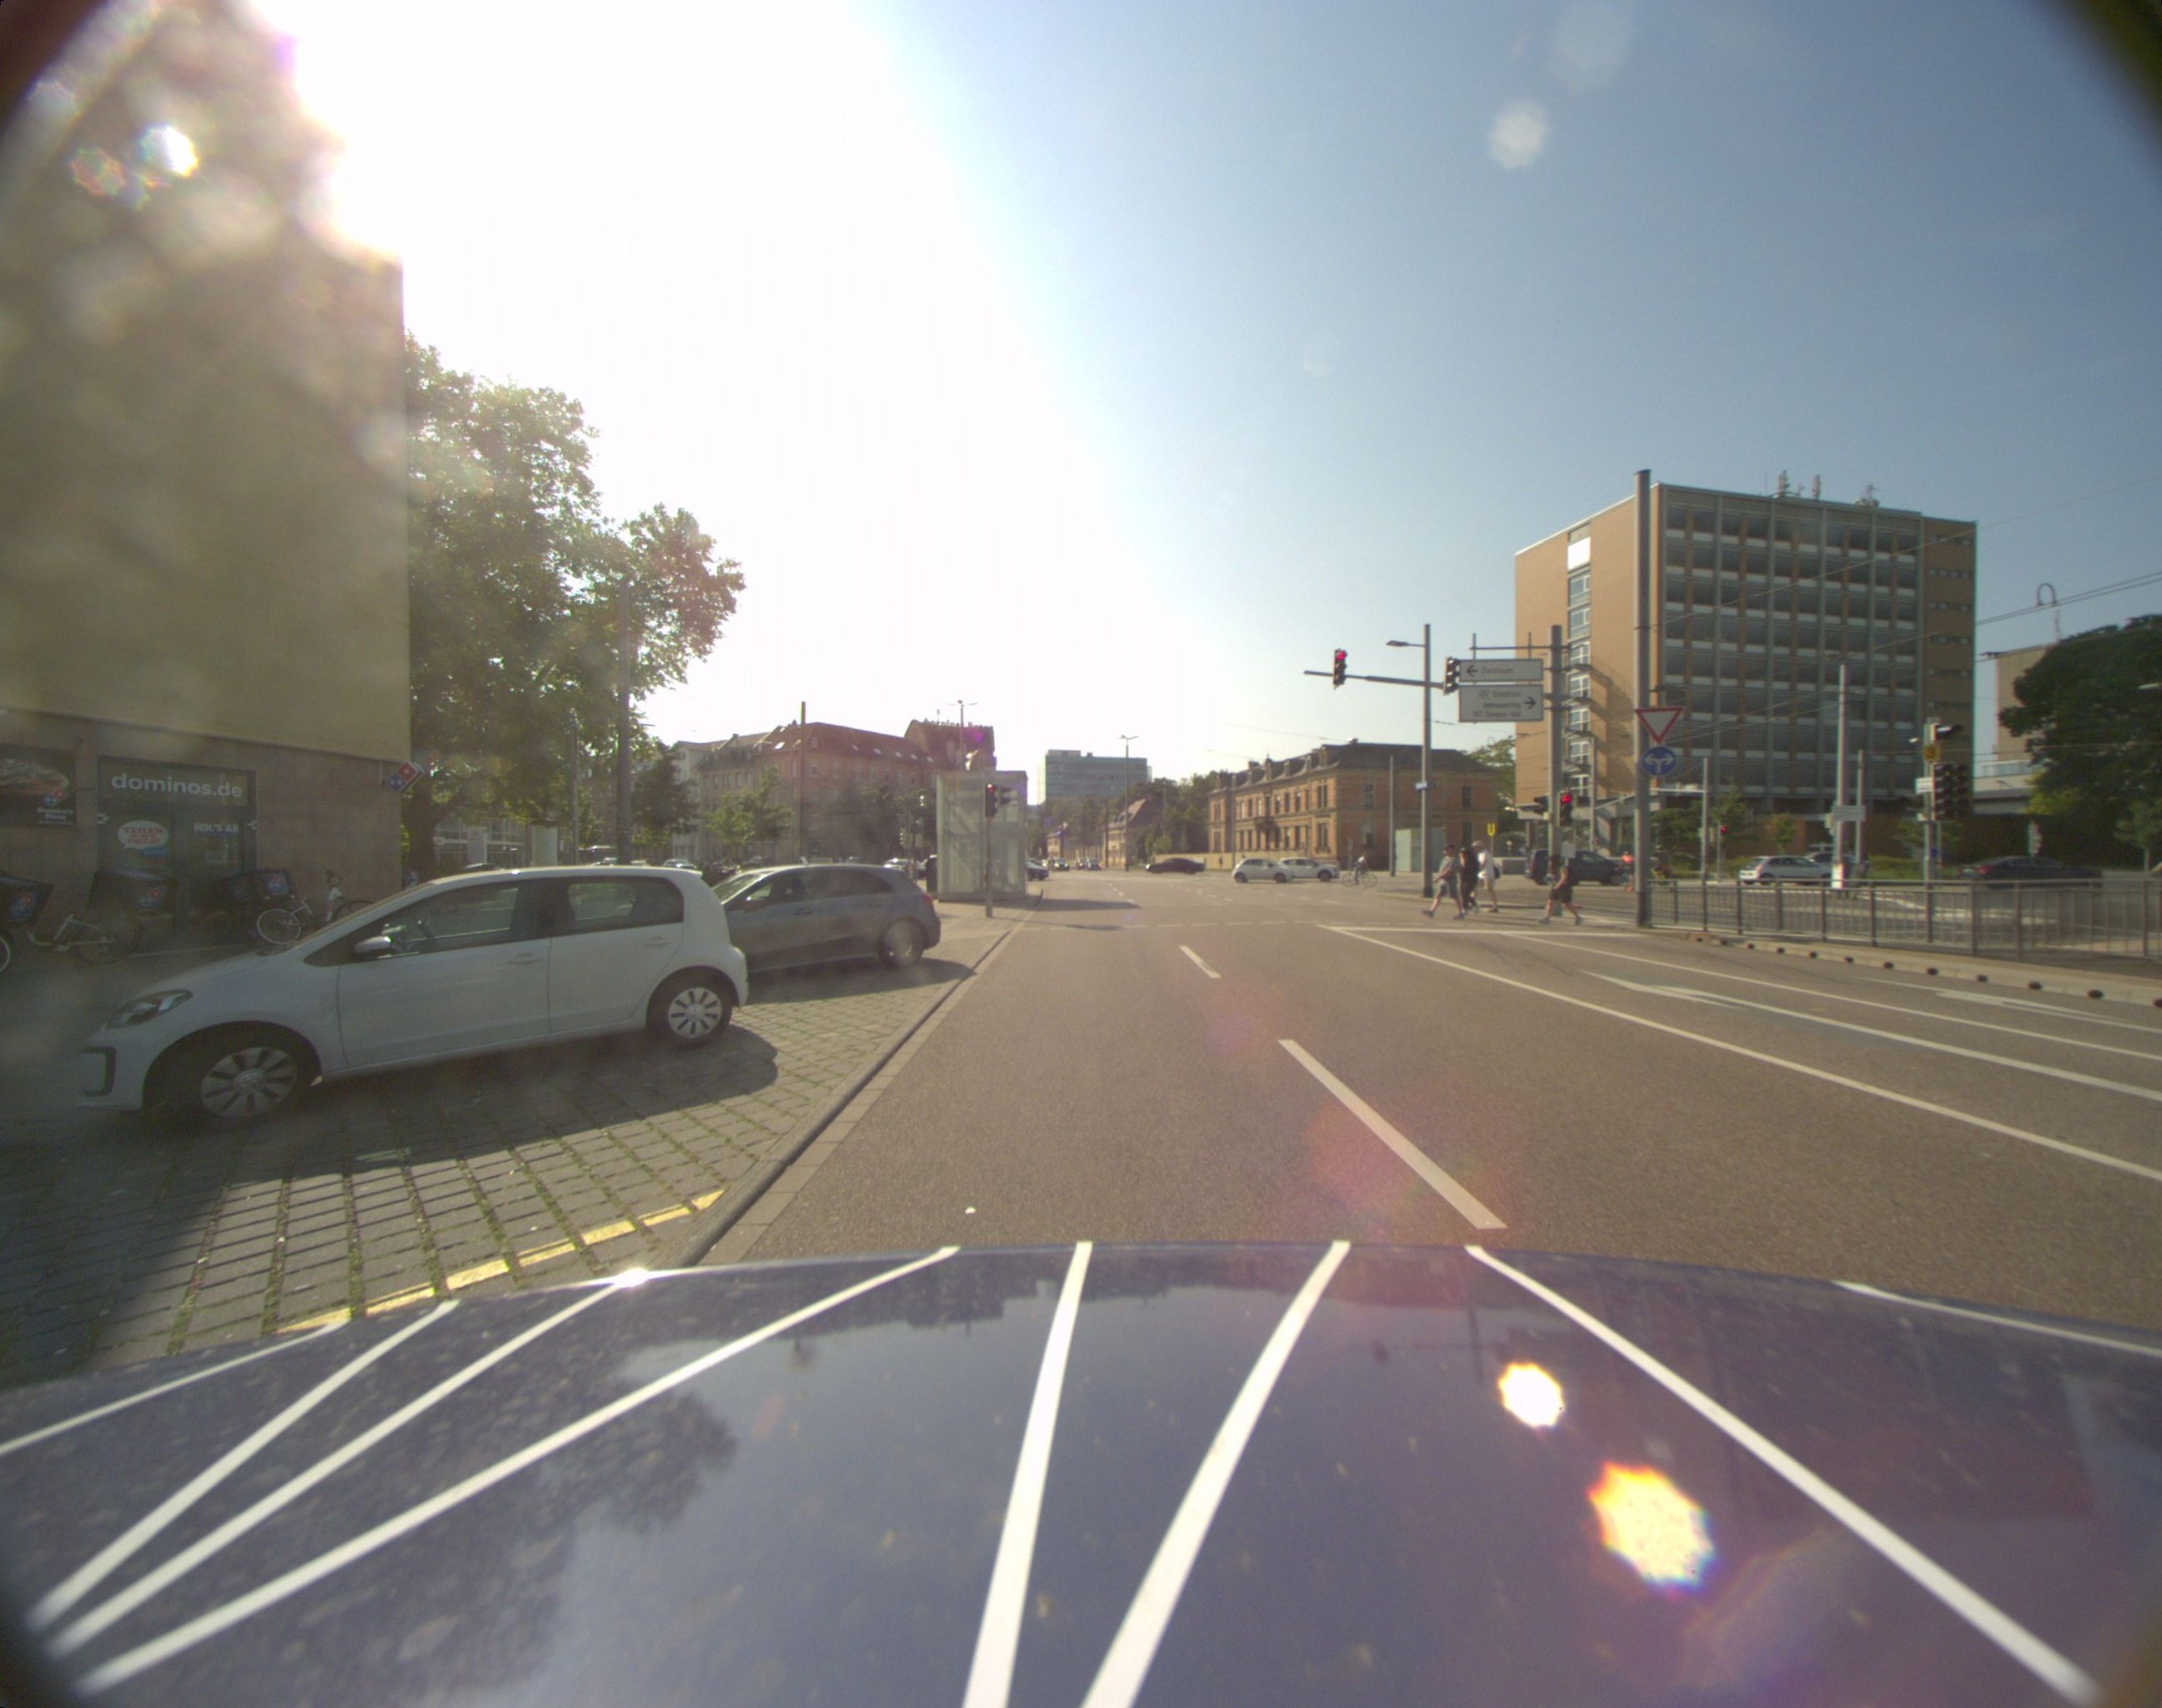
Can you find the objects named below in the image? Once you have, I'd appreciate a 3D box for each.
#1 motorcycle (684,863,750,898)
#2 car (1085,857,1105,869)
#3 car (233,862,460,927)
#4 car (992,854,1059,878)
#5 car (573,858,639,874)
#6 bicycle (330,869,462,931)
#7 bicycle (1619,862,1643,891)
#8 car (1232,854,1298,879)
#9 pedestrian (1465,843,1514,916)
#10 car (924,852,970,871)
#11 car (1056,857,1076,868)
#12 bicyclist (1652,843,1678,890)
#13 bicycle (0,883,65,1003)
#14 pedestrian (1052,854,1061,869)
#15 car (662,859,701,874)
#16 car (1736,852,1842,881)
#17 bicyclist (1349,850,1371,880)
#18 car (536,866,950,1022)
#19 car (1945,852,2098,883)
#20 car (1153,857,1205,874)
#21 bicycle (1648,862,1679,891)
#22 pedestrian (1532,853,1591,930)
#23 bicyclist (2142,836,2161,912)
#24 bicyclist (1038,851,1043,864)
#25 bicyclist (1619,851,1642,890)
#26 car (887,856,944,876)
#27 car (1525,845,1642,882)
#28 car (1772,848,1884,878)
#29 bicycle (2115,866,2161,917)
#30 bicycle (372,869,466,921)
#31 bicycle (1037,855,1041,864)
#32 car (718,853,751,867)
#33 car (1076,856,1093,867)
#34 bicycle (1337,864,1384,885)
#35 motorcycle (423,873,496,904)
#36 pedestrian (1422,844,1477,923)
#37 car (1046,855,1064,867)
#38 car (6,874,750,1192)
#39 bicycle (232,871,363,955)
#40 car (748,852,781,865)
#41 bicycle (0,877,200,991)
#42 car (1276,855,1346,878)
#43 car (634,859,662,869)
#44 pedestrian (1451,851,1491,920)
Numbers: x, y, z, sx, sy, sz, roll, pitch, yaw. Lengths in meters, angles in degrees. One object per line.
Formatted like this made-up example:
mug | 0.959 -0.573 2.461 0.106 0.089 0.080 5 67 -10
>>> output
motorcycle | -12.614 0.882 26.440 0.704 1.140 2.304 0 0 16
car | 1.625 1.034 88.880 1.693 1.319 3.997 0 0 -8
car | -18.471 0.956 19.429 1.660 1.433 4.194 0 0 1
car | -3.753 0.805 51.457 3.990 1.586 2.003 0 0 23
car | -40.269 0.989 64.498 1.994 1.362 4.408 0 0 43
bicycle | -13.619 0.906 15.130 2.022 1.199 0.671 0 0 0
bicycle | 22.999 0.924 31.810 0.311 1.158 1.501 0 0 16
car | 10.855 0.728 44.807 3.607 1.407 1.806 0 0 21
pedestrian | 10.361 0.626 19.294 0.834 1.778 0.729 2 1 8
car | -13.527 0.752 76.771 4.280 1.875 1.798 0 -2 21
car | -1.866 1.008 91.939 1.927 1.368 3.997 0 0 -8
bicyclist | 24.264 0.517 31.576 0.580 1.963 0.808 0 0 15
bicycle | -11.822 0.964 7.680 0.604 1.254 1.996 0 0 -8
pedestrian | -2.791 0.864 86.571 0.791 1.677 0.662 0 1 28
car | -38.863 1.230 73.921 3.621 1.433 1.807 0 0 32
car | 36.273 0.630 39.012 3.548 1.427 1.806 0 0 20
bicyclist | 14.061 0.541 38.285 0.969 1.466 1.089 1 1 25
car | -4.068 0.922 9.623 4.418 1.415 1.842 -1 1 -41
car | 45.235 0.615 36.678 4.340 1.443 1.806 0 0 19
car | 8.596 1.026 66.592 4.315 1.456 1.677 0 -2 20
bicycle | 24.330 0.922 31.763 0.376 1.158 1.861 0 0 16
pedestrian | 10.024 0.770 15.880 0.810 1.539 0.548 2 1 2
bicyclist | 23.748 0.441 16.390 0.588 1.647 0.790 0 1 1
bicyclist | -4.958 0.457 93.086 0.662 1.627 0.918 0 0 -6
bicyclist | 22.942 0.685 31.720 0.511 1.620 0.808 0 0 15
car | -12.181 0.867 55.837 3.893 1.433 1.807 0 0 32
car | 25.693 0.483 39.070 4.761 1.817 1.806 0 0 23
car | 43.824 0.567 44.716 4.281 1.696 1.955 0 -2 16
bicycle | 23.742 0.821 16.420 0.402 1.103 1.746 0 0 -1
bicycle | -16.990 1.013 19.592 0.524 1.227 2.300 0 0 -4
bicycle | -5.108 0.715 93.160 0.401 1.084 1.927 0 0 -5
car | -43.916 0.767 96.286 4.277 1.614 1.819 0 -1 32
car | 0.402 0.935 95.198 1.693 1.319 3.997 0 0 -8
bicycle | 14.101 1.026 38.325 2.192 0.983 0.530 1 2 25
motorcycle | -22.276 1.216 27.285 0.704 0.996 1.959 0 0 16
pedestrian | 8.090 0.636 16.708 0.816 1.683 0.651 2 1 1
car | -3.526 0.921 102.264 1.927 1.626 3.997 0 0 -8
car | -4.540 0.940 5.564 3.535 1.455 1.618 -1 1 -41
bicycle | -12.841 0.934 12.521 0.470 1.254 1.636 0 0 0
car | -37.914 0.567 90.925 3.964 1.572 1.748 0 -1 35
bicycle | -12.613 0.951 9.686 0.604 1.254 1.849 0 0 0
car | 14.214 0.755 46.907 3.990 1.407 1.806 0 0 22
car | -59.352 1.376 104.031 3.770 1.439 1.680 0 0 31
pedestrian | 9.225 0.728 17.967 0.634 1.588 0.468 2 1 -1
